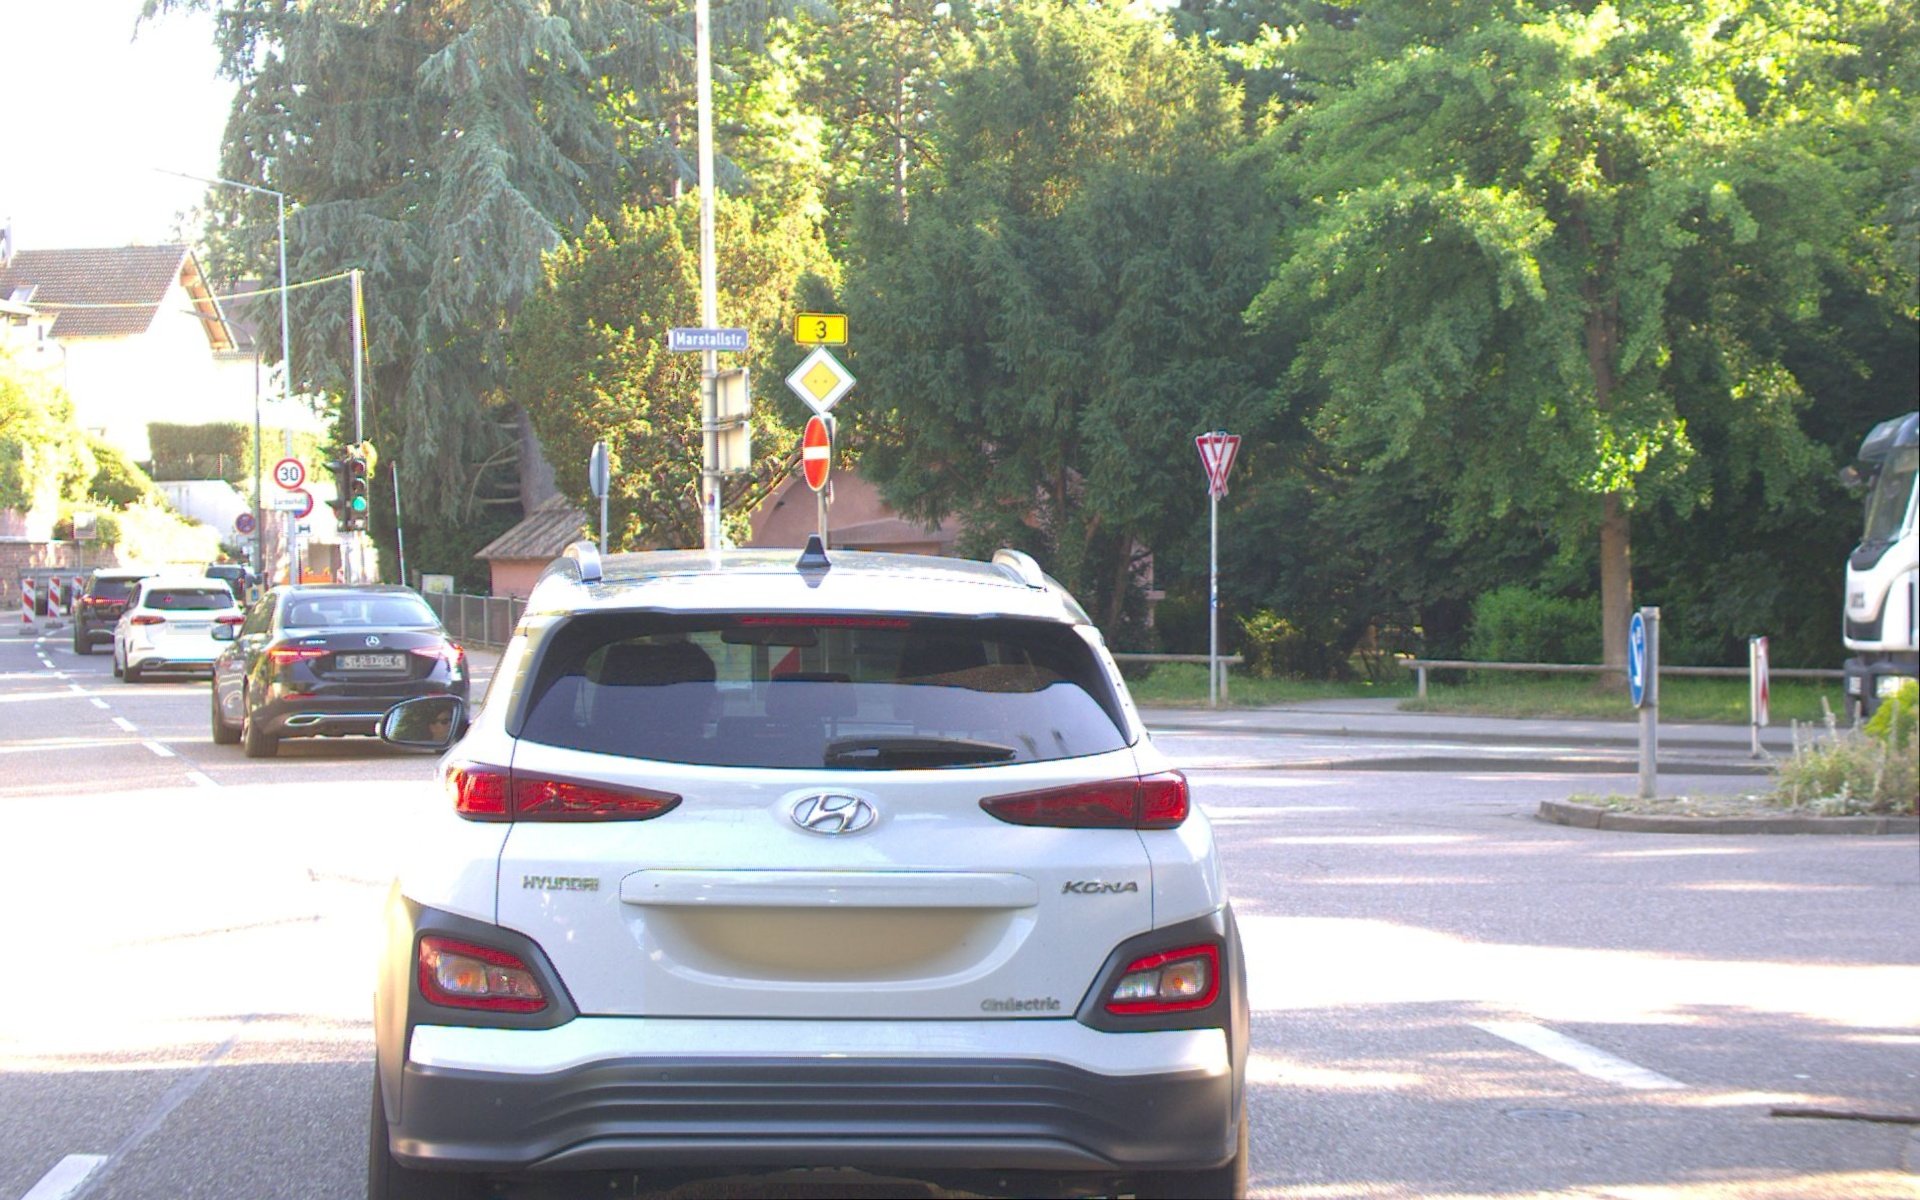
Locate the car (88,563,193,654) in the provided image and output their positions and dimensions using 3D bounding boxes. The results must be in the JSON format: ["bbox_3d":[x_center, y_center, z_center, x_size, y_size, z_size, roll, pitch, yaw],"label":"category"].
[{"bbox_3d":[-15.753,0.145,65.947,1.831,1.656,4.001,1,0,-15],"label":"car"}]

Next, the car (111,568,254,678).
[{"bbox_3d":[-11.631,0.310,51.257,1.805,1.532,4.001,1,0,-16],"label":"car"}]

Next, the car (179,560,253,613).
[{"bbox_3d":[-24.195,-0.446,111.841,1.831,1.656,4.001,1,0,-5],"label":"car"}]

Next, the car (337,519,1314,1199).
[{"bbox_3d":[-0.502,0.633,8.460,1.820,1.568,4.001,1,0,-8],"label":"car"}]

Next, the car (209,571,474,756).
[{"bbox_3d":[-5.402,0.499,29.624,1.707,1.429,4.366,1,0,-17],"label":"car"}]

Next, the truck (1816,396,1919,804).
[{"bbox_3d":[9.834,0.059,25.207,6.589,2.885,2.432,1,0,7],"label":"truck"}]

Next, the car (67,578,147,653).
[{"bbox_3d":[-21.002,0.363,84.582,1.831,1.735,4.001,1,0,-14],"label":"car"}]
